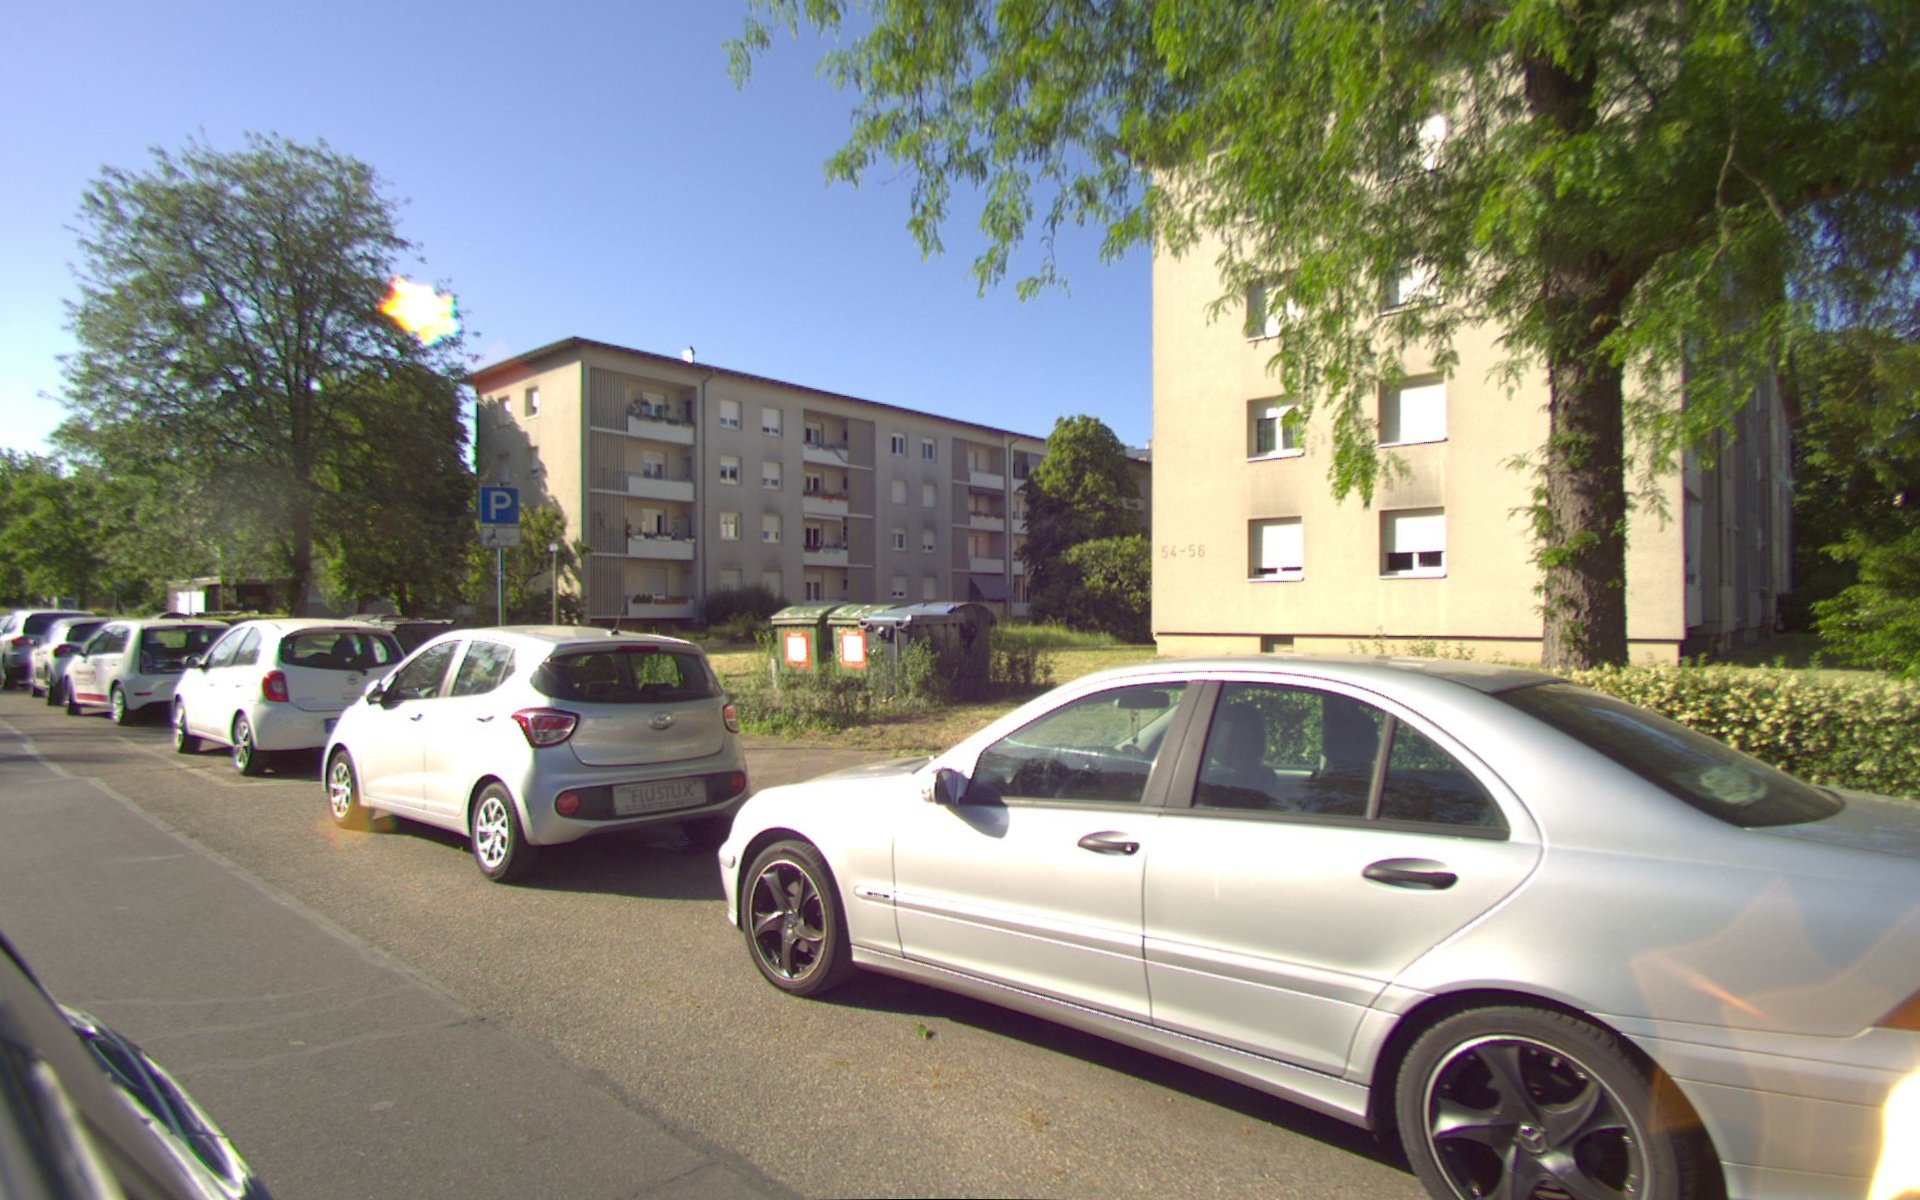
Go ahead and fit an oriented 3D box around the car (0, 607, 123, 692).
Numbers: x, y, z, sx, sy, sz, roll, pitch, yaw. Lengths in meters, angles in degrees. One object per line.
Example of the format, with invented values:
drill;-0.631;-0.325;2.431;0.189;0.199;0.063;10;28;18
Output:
car;-19.801;1.029;21.928;4.347;1.652;1.883;-1;-2;41

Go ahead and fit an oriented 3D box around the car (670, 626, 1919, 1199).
car;0.980;0.857;3.644;4.523;1.476;1.669;-1;-4;41

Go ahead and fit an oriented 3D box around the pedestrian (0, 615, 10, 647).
pedestrian;-50.018;1.609;52.724;0.599;1.692;0.713;-1;-1;41

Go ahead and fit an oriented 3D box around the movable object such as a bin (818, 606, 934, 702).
movable object such as a bin;-1.381;0.848;16.528;1.462;1.431;1.165;-2;1;43

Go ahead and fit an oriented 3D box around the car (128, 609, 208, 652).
car;-30.065;1.140;38.387;3.996;1.537;1.555;-1;0;40

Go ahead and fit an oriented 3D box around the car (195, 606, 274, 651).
car;-28.255;1.099;39.373;3.996;1.653;1.555;-1;0;40

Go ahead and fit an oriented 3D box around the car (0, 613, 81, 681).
car;-23.809;1.159;25.776;3.532;1.618;1.619;-1;-2;40

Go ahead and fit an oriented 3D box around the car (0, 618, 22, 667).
car;-32.046;1.375;33.206;3.140;1.586;1.429;-1;-3;40

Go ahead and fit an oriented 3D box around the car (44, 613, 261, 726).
car;-12.342;0.985;15.429;3.530;1.525;1.648;-1;-2;35

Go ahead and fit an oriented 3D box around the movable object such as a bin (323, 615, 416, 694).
movable object such as a bin;-11.296;1.010;19.341;1.441;1.393;1.124;-2;1;43

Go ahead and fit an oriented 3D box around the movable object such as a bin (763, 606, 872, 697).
movable object such as a bin;-2.470;0.862;17.521;1.462;1.431;1.165;-2;1;43

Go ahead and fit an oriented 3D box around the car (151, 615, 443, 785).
car;-7.409;0.969;11.177;3.888;1.546;1.669;-1;-2;41

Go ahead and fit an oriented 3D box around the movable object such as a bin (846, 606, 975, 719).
movable object such as a bin;-0.693;0.837;14.122;1.361;1.431;1.122;-2;1;43

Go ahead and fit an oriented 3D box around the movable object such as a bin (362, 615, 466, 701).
movable object such as a bin;-9.415;0.975;17.441;1.343;1.350;1.165;-2;1;43

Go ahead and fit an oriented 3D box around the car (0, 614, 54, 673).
car;-27.960;1.252;29.569;3.967;1.618;1.735;-1;-4;42

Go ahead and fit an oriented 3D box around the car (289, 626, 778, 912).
car;-3.194;0.948;7.265;3.814;1.517;1.669;-1;-2;40

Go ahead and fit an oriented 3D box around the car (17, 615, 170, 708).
car;-15.941;1.064;18.560;3.945;1.525;1.644;-1;-2;42

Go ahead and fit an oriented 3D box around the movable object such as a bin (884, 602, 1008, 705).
movable object such as a bin;-0.216;0.779;15.429;1.462;1.431;1.165;-2;1;43

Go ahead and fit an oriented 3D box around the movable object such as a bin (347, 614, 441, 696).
movable object such as a bin;-10.283;0.977;18.396;1.243;1.368;1.124;-2;1;43
